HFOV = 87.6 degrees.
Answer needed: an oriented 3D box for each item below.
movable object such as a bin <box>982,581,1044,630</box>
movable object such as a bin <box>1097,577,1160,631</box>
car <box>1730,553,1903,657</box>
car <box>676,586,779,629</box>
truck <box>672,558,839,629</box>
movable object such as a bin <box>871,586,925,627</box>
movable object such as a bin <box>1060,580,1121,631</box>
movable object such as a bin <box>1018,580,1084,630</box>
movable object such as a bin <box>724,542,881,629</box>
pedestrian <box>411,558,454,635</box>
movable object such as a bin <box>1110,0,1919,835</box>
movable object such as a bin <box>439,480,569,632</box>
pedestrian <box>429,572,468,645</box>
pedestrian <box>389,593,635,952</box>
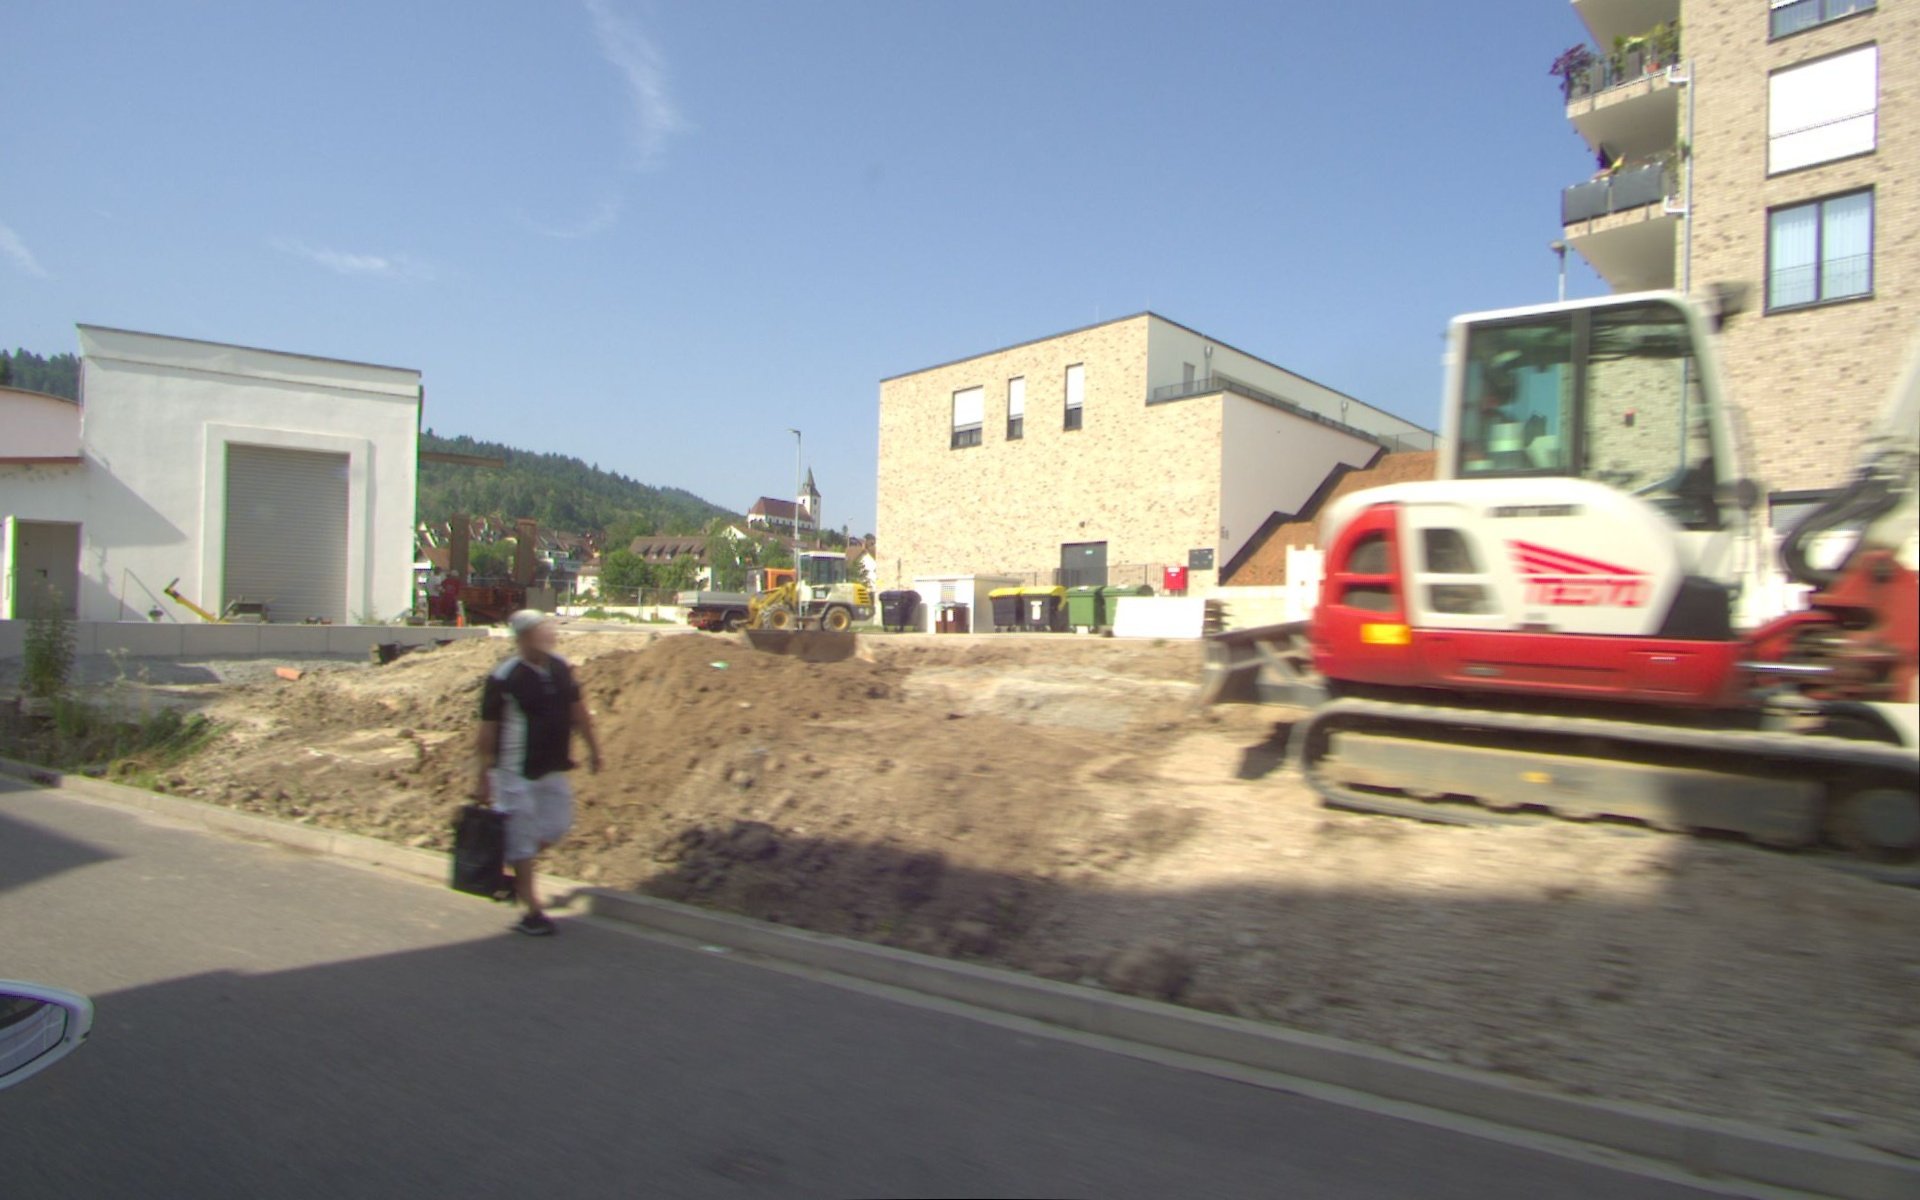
[{"bbox_3d":[1.768,0.197,33.327,1.305,1.482,1.574,1,-4,42],"label":"movable object such as a bin"},{"bbox_3d":[5.045,0.126,30.002,1.305,1.482,1.294,1,-4,42],"label":"movable object such as a bin"},{"bbox_3d":[13.916,0.131,16.463,1.571,1.514,3.400,-1,-2,31],"label":"car"},{"bbox_3d":[-9.265,0.343,39.957,3.710,1.536,1.495,2,-3,-28],"label":"car"},{"bbox_3d":[-7.055,-0.166,34.801,5.261,2.295,2.205,1,-1,-33],"label":"truck"},{"bbox_3d":[-2.165,0.223,34.895,1.305,1.283,1.291,1,-4,42],"label":"movable object such as a bin"},{"bbox_3d":[4.034,0.172,31.022,1.305,1.482,1.294,1,-4,42],"label":"movable object such as a bin"},{"bbox_3d":[2.929,0.167,32.206,1.305,1.482,1.686,1,-4,42],"label":"movable object such as a bin"},{"bbox_3d":[-4.991,-0.381,31.974,4.566,2.603,1.913,1,-1,-33],"label":"movable object such as a bin"},{"bbox_3d":[-13.589,-0.084,25.809,0.625,1.920,0.607,2,-2,24],"label":"pedestrian"},{"bbox_3d":[4.673,-1.013,4.250,7.694,3.900,2.291,0,-4,36],"label":"movable object such as a bin"},{"bbox_3d":[-13.114,-1.045,28.564,2.818,3.666,5.710,5,-3,-28],"label":"movable object such as a bin"},{"bbox_3d":[-13.793,0.244,27.019,0.623,1.920,0.608,4,-2,-2],"label":"pedestrian"},{"bbox_3d":[-2.360,0.851,5.341,0.708,1.703,0.888,0,-3,31],"label":"pedestrian"}]
